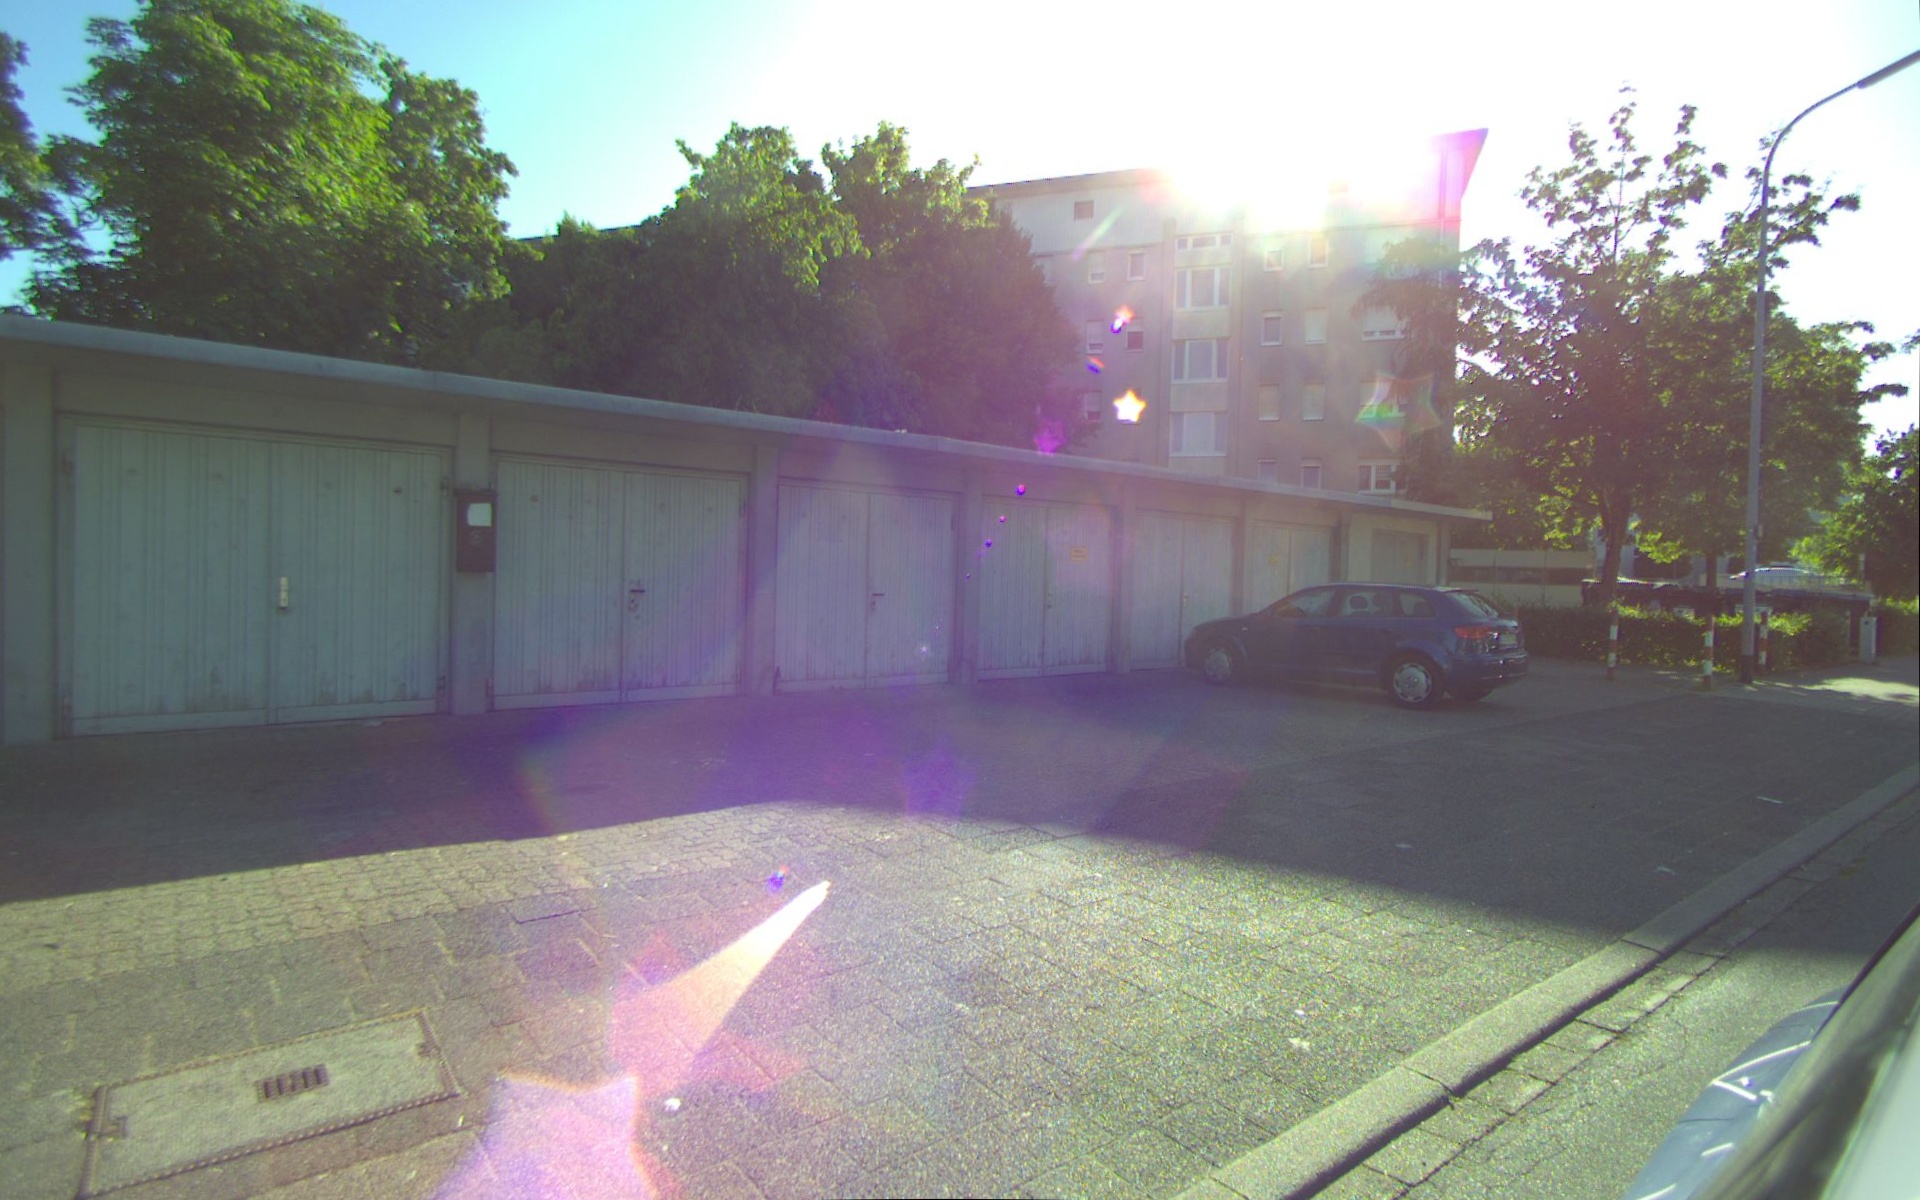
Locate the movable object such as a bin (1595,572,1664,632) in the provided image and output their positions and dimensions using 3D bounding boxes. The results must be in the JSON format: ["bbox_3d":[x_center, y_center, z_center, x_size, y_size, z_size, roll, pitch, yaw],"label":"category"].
[{"bbox_3d":[17.641,0.037,26.673,1.013,1.499,1.323,0,1,-44],"label":"movable object such as a bin"}]

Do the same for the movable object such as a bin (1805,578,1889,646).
[{"bbox_3d":[20.612,0.254,23.524,1.053,1.445,1.326,0,4,-44],"label":"movable object such as a bin"}]

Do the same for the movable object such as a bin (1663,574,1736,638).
[{"bbox_3d":[18.731,0.143,25.629,1.013,1.556,1.325,0,1,-44],"label":"movable object such as a bin"}]

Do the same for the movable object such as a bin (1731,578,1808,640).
[{"bbox_3d":[19.688,0.193,24.629,1.013,1.449,1.325,0,2,-44],"label":"movable object such as a bin"}]

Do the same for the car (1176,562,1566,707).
[{"bbox_3d":[4.980,0.297,12.739,1.786,1.513,4.190,0,2,-41],"label":"car"}]
